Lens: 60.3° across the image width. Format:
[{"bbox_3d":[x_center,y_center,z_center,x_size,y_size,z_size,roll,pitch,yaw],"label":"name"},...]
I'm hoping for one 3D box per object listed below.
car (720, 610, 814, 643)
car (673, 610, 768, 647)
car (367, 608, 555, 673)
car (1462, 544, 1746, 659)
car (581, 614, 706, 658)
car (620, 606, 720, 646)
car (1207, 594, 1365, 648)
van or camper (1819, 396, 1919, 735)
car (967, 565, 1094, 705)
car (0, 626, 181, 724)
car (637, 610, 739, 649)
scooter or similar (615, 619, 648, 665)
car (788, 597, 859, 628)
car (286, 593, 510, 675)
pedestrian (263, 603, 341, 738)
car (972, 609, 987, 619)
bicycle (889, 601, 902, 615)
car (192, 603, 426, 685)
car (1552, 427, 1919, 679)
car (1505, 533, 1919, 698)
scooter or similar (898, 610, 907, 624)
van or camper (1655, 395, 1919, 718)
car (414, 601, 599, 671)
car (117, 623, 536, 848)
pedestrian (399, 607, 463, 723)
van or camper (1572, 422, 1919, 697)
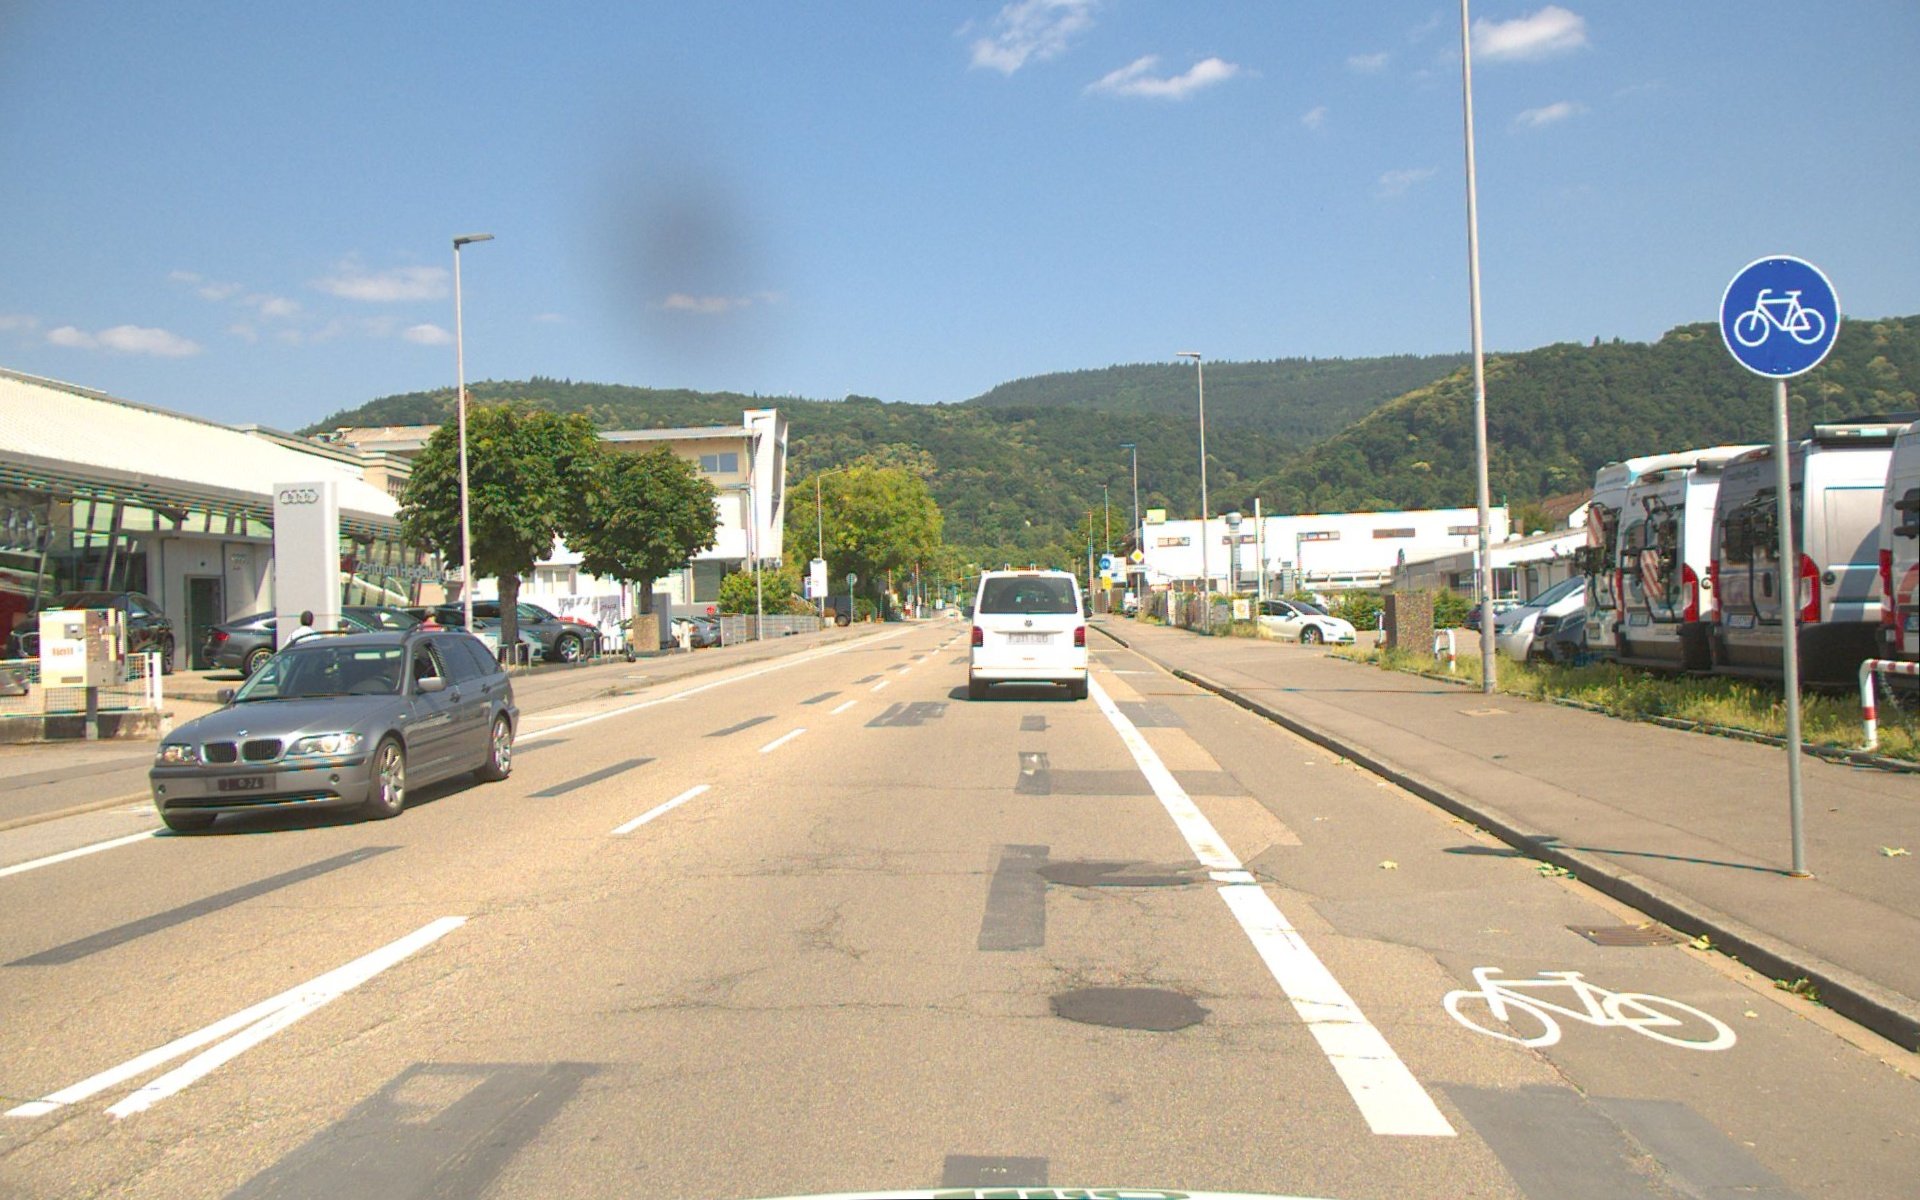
[{"bbox_3d":[-10.164,1.375,87.231,4.641,1.507,2.048,-3,0,1],"label":"car"},{"bbox_3d":[-11.438,1.363,79.231,4.209,1.586,1.995,-3,0,-2],"label":"car"},{"bbox_3d":[-12.397,0.985,41.164,4.151,1.521,1.853,0,-1,-33],"label":"car"},{"bbox_3d":[10.271,0.028,26.590,3.840,1.621,1.798,-2,0,2],"label":"car"},{"bbox_3d":[-12.296,1.391,64.489,4.431,1.483,1.900,-3,0,0],"label":"car"},{"bbox_3d":[-11.673,1.070,66.769,3.815,1.470,1.821,2,-3,-6],"label":"car"},{"bbox_3d":[10.902,0.736,55.546,2.009,1.650,4.963,6,-5,-44],"label":"car"},{"bbox_3d":[10.316,-0.386,12.614,6.067,2.568,2.619,-3,0,2],"label":"van or camper"},{"bbox_3d":[1.101,0.538,27.139,1.895,2.096,4.544,0,0,1],"label":"car"},{"bbox_3d":[-17.008,1.413,32.580,1.959,1.749,4.717,1,-1,-13],"label":"car"},{"bbox_3d":[-11.355,1.245,69.253,3.905,1.469,1.859,2,-3,0],"label":"car"},{"bbox_3d":[-9.426,1.191,47.470,0.729,1.269,1.489,-2,0,-5],"label":"scooter or similar"},{"bbox_3d":[-8.794,0.808,106.984,4.475,1.898,2.091,-2,0,-3],"label":"car"},{"bbox_3d":[-12.700,0.777,37.442,4.427,1.636,1.944,2,2,-33],"label":"car"},{"bbox_3d":[-9.480,1.000,23.862,0.708,1.881,0.911,-2,0,-3],"label":"pedestrian"},{"bbox_3d":[2.720,1.962,231.484,1.952,1.394,4.328,-3,0,2],"label":"car"},{"bbox_3d":[-5.260,0.676,134.934,1.006,1.137,2.765,0,0,0],"label":"bicycle"},{"bbox_3d":[-13.200,0.926,33.623,4.109,1.485,1.886,3,-3,-33],"label":"car"},{"bbox_3d":[11.145,-0.624,21.341,6.098,2.919,2.321,-3,0,2],"label":"car"},{"bbox_3d":[10.775,0.219,23.830,5.126,1.986,2.000,-3,0,2],"label":"car"},{"bbox_3d":[-4.830,1.433,138.729,0.634,1.147,1.621,1,0,-4],"label":"scooter or similar"},{"bbox_3d":[10.312,-0.484,15.676,6.217,2.763,2.713,-3,0,2],"label":"van or camper"},{"bbox_3d":[-12.356,0.943,45.140,4.524,1.726,1.838,-1,0,-34],"label":"car"},{"bbox_3d":[-5.025,0.988,13.837,1.706,1.429,4.324,-4,0,1],"label":"car"},{"bbox_3d":[-8.976,1.083,28.089,0.718,1.900,1.046,-2,0,-3],"label":"pedestrian"},{"bbox_3d":[10.495,-0.496,18.521,6.217,2.747,2.713,-3,0,2],"label":"van or camper"}]
